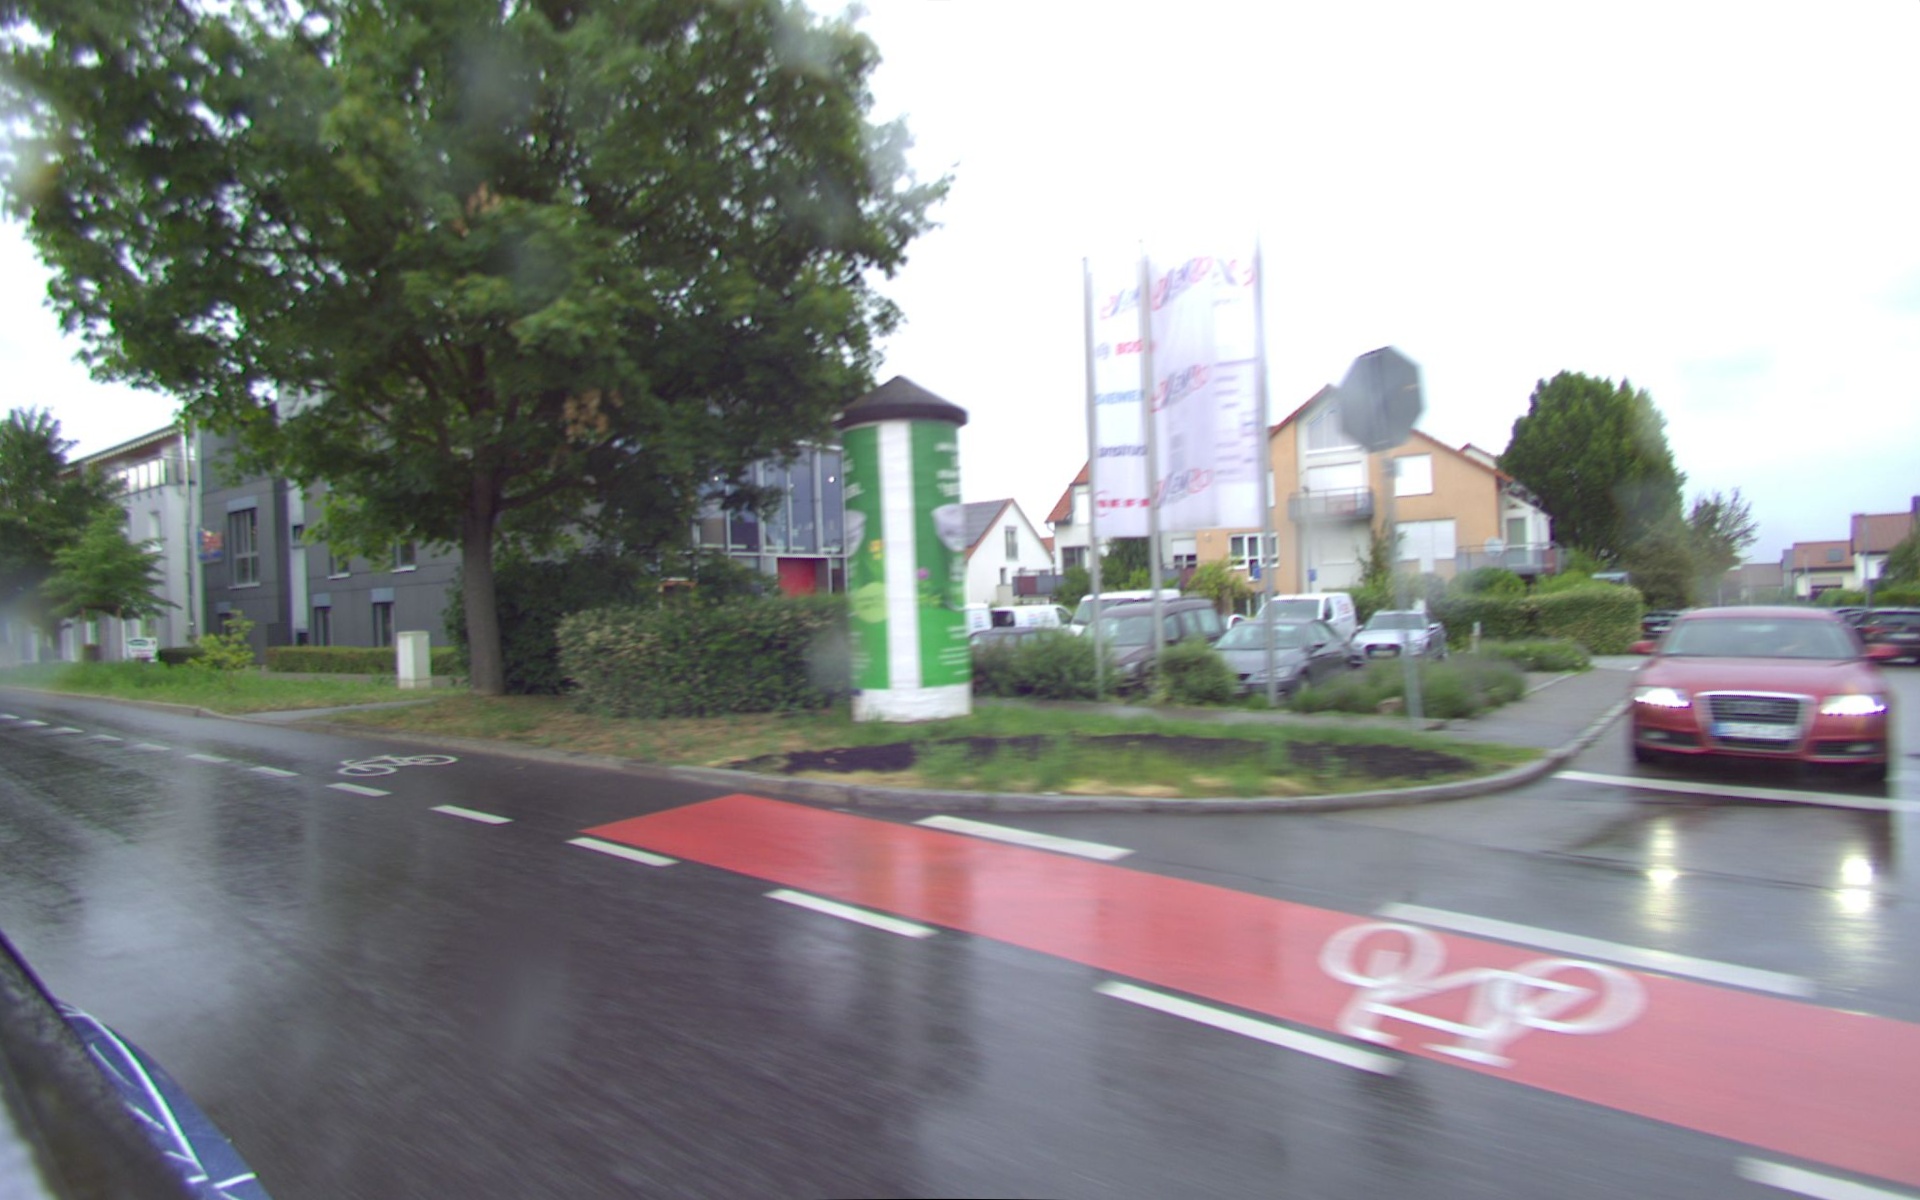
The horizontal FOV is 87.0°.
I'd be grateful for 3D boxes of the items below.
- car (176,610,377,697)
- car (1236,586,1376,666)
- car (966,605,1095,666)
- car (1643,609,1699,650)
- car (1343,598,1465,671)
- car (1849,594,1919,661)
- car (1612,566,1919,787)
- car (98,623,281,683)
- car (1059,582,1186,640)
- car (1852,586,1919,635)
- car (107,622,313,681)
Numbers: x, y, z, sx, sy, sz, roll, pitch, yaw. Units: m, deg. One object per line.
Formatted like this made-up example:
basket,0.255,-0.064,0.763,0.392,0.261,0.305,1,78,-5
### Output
car,-12.715,0.929,18.945,1.251,1.466,2.882,0,0,36
car,9.518,0.647,27.592,1.878,1.783,5.011,-4,0,39
car,2.328,1.077,32.261,2.043,1.804,4.509,-1,-1,36
car,26.297,1.075,37.492,1.256,1.355,2.915,-4,-1,27
car,11.240,0.834,25.497,1.747,1.504,3.912,-4,0,39
car,24.698,0.674,26.389,3.941,1.453,1.885,-4,0,-44
car,7.736,0.572,9.564,1.874,1.579,4.592,-1,-1,43
car,-16.674,1.115,21.990,1.468,1.168,2.882,-2,-1,36
car,4.920,0.345,30.149,2.172,1.579,4.515,-1,-1,32
car,33.001,0.351,35.845,3.941,1.453,1.696,-4,0,-44
car,-18.619,1.243,25.280,1.579,1.294,3.865,-2,-1,36
